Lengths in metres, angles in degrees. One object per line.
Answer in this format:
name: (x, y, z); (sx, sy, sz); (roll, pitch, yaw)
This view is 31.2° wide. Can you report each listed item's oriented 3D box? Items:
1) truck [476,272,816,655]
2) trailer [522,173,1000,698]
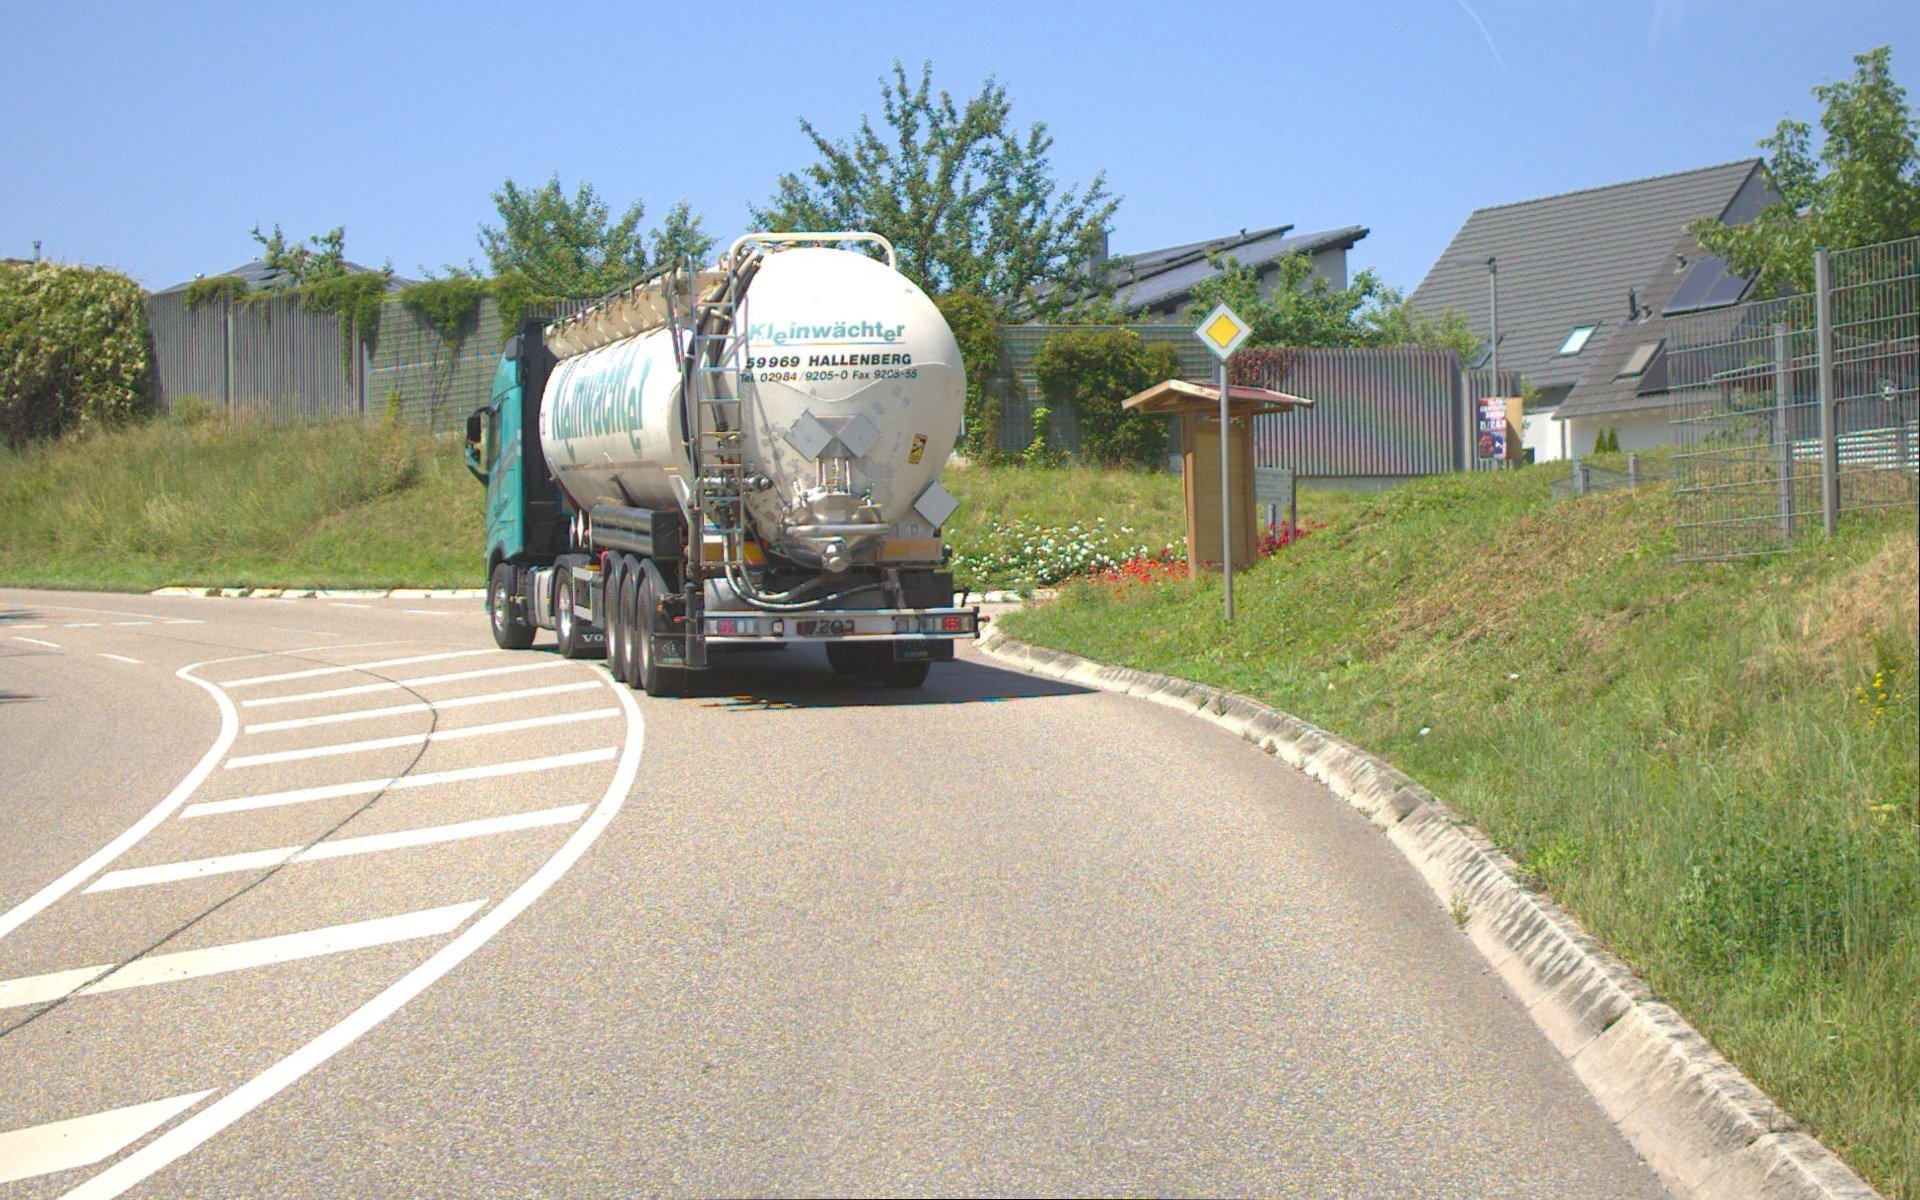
truck: (-3.755, -1.485, 39.411); (2.726, 3.916, 7.265); (-2, 1, -13)
trailer: (-2.314, -1.503, 33.456); (2.660, 4.174, 11.908); (-2, 2, -13)
